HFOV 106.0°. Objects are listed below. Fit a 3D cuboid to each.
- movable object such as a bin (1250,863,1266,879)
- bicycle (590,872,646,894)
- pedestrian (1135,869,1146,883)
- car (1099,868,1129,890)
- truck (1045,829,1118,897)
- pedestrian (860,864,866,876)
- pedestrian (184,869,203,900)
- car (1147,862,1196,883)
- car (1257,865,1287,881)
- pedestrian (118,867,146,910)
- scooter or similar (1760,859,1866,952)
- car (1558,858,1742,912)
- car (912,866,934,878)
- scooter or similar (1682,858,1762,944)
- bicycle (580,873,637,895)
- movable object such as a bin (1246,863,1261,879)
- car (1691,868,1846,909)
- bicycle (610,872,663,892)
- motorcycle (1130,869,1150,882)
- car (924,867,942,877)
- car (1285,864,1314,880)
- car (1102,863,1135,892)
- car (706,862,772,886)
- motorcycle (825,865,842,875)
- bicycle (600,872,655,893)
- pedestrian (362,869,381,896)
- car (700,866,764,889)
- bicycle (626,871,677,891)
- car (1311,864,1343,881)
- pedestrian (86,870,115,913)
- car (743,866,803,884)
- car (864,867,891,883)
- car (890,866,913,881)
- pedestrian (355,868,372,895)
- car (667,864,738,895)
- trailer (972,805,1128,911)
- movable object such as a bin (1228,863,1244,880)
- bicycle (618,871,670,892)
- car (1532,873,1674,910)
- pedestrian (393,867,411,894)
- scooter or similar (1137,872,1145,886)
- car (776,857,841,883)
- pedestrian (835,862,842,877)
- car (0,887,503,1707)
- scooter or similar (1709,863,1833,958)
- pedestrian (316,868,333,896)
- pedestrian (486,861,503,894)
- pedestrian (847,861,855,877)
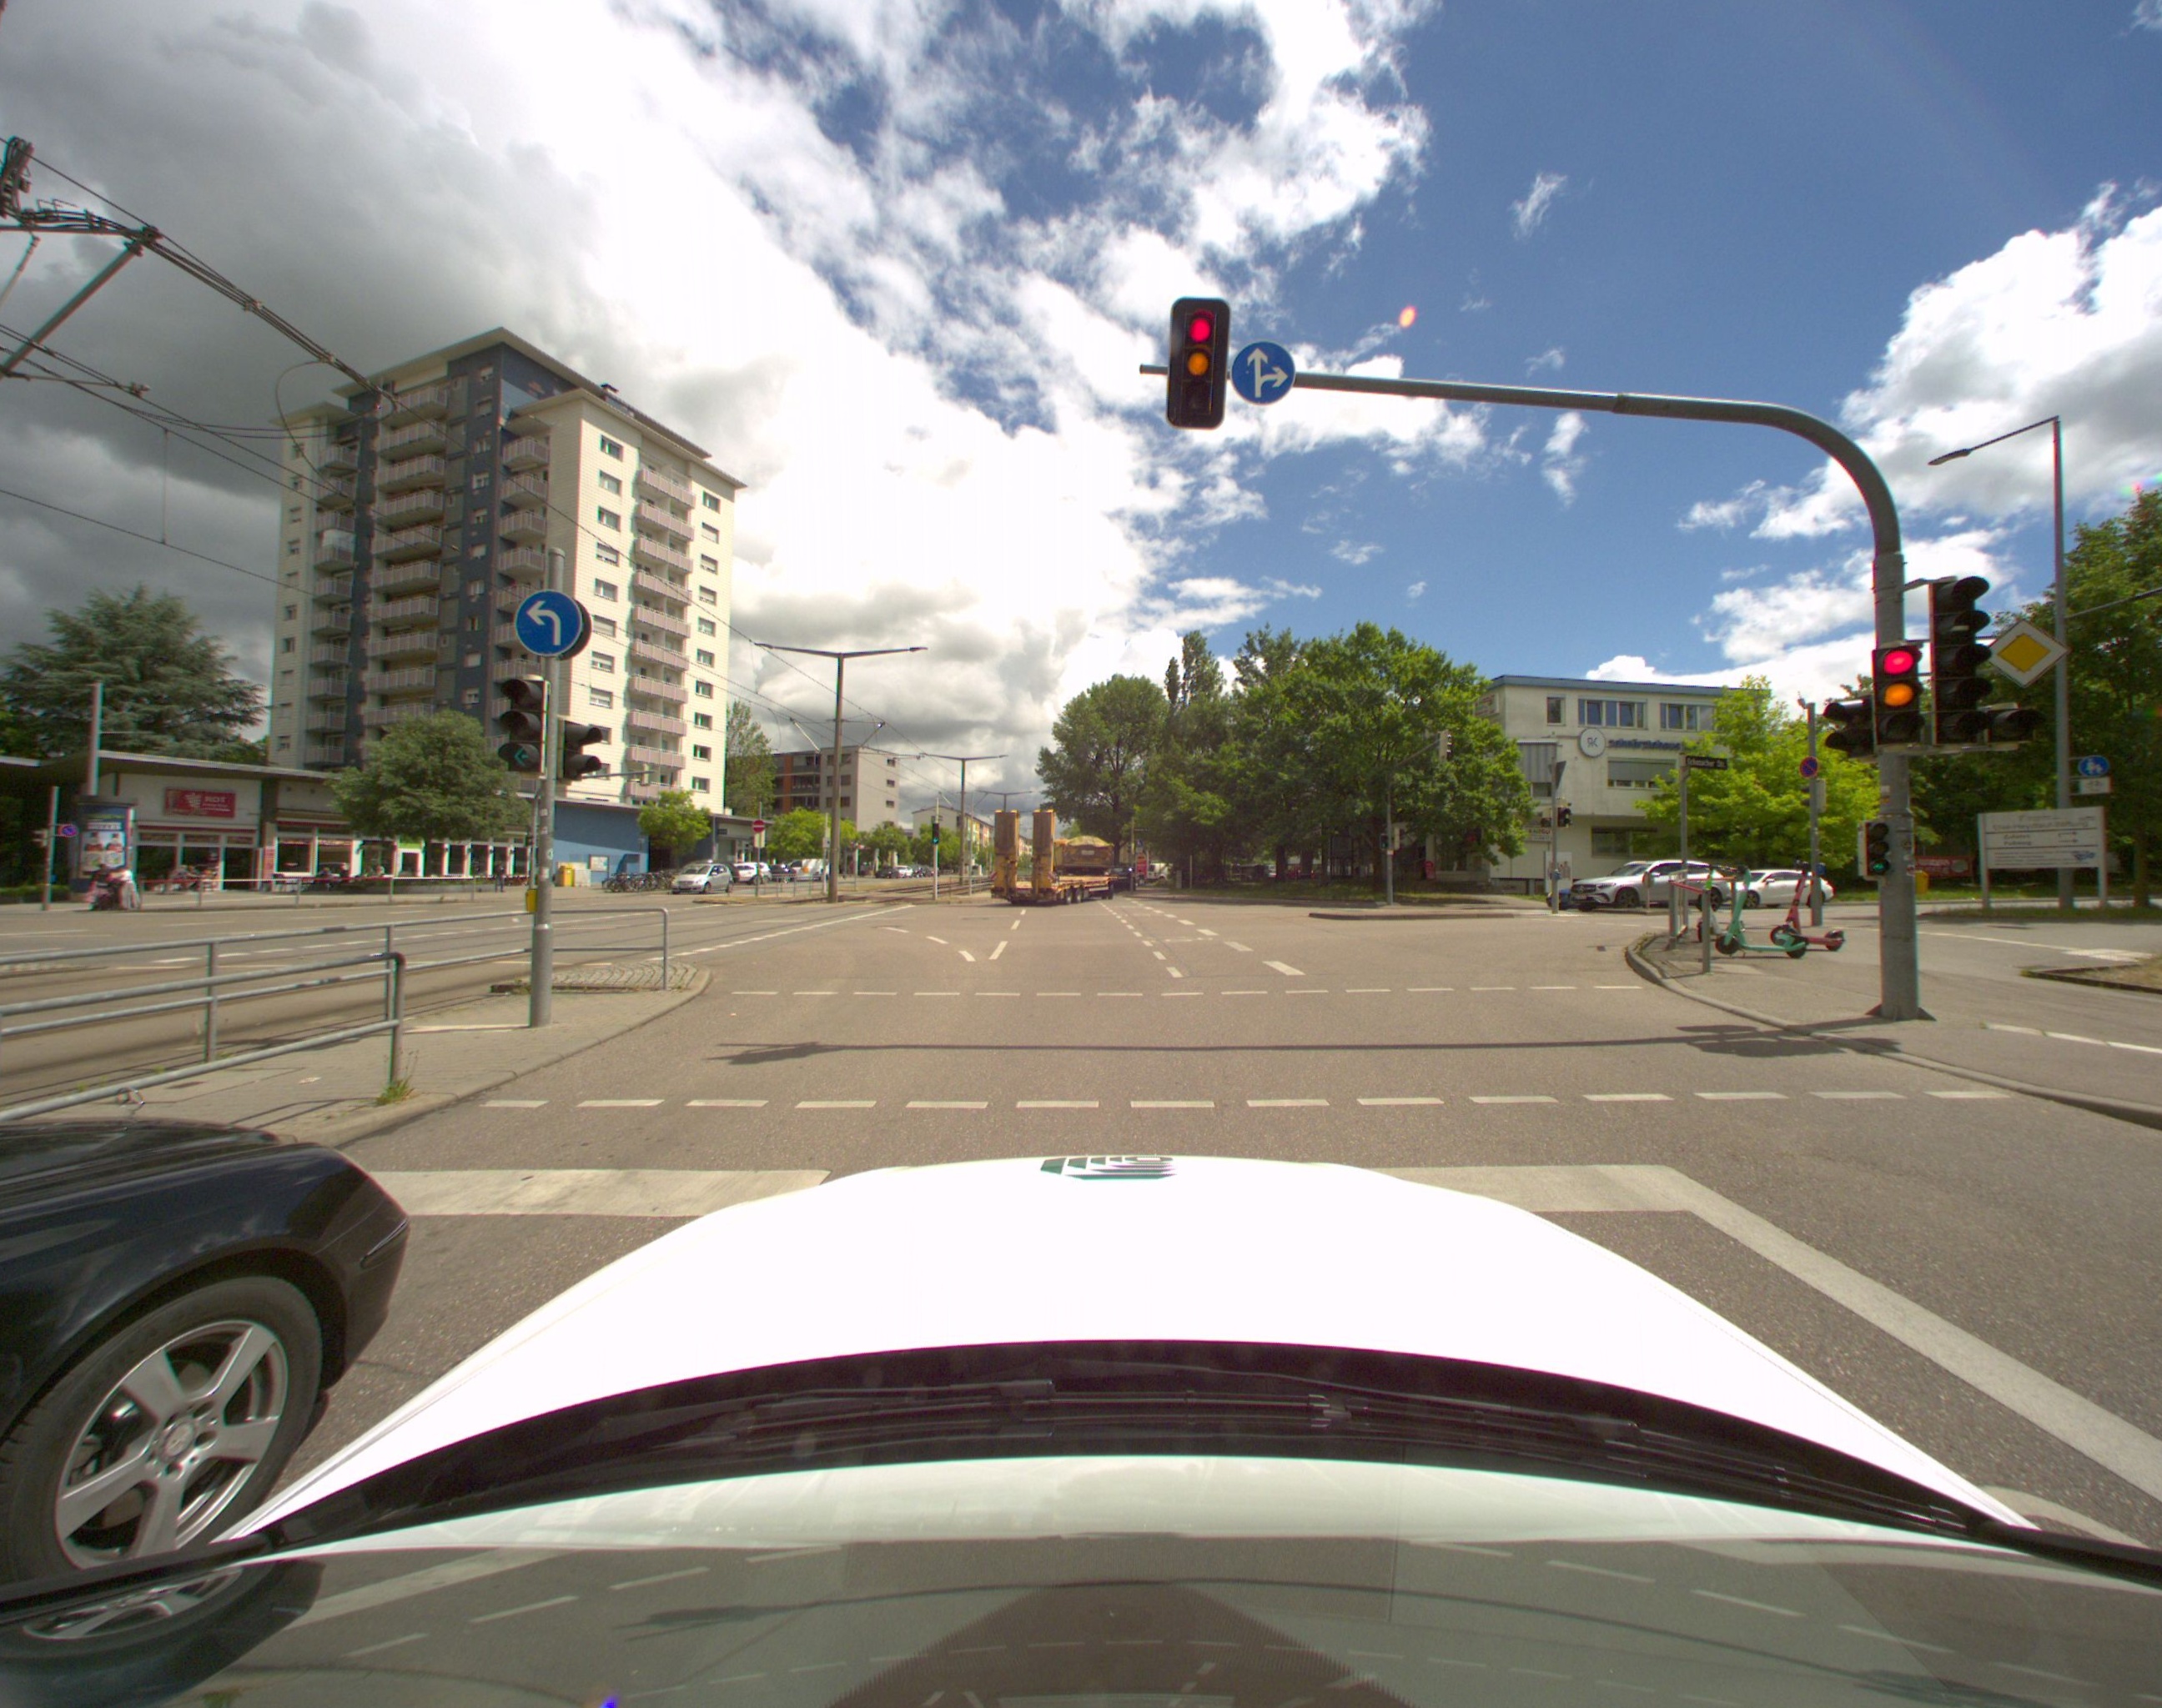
[{"bbox_3d":[16.003,1.562,73.786,1.113,1.430,1.284,0,-1,-4],"label":"movable object such as a bin"},{"bbox_3d":[-23.545,1.469,41.438,2.419,1.066,0.705,0,-1,0],"label":"bicycle"},{"bbox_3d":[4.619,1.730,63.213,0.775,1.055,0.546,0,-1,-7],"label":"pedestrian"},{"bbox_3d":[2.279,1.695,56.638,1.641,1.458,4.069,0,-1,-4],"label":"car"},{"bbox_3d":[-0.116,0.478,44.018,2.832,3.330,7.961,0,-1,-8],"label":"truck"},{"bbox_3d":[-26.369,1.906,98.505,0.500,1.460,0.555,0,-1,-28],"label":"pedestrian"},{"bbox_3d":[-42.989,1.465,39.436,0.565,1.472,0.529,-1,-1,32],"label":"pedestrian"},{"bbox_3d":[8.070,1.615,72.798,4.005,1.823,1.796,0,-1,-24],"label":"car"},{"bbox_3d":[17.883,1.773,76.264,1.933,1.490,4.001,0,0,1],"label":"car"},{"bbox_3d":[-33.287,1.202,28.562,0.512,1.472,0.529,-1,-1,26],"label":"pedestrian"},{"bbox_3d":[10.182,0.698,11.335,1.182,1.235,0.478,0,-1,-12],"label":"scooter or similar"},{"bbox_3d":[17.886,0.978,25.706,4.636,1.592,1.918,0,-3,-7],"label":"car"},{"bbox_3d":[-21.454,2.456,110.793,1.986,1.648,4.102,0,-1,2],"label":"car"},{"bbox_3d":[9.720,0.689,12.343,1.213,1.235,0.475,0,-1,-27],"label":"scooter or similar"},{"bbox_3d":[-23.571,1.473,40.683,2.419,1.066,0.705,0,-1,0],"label":"bicycle"},{"bbox_3d":[15.917,1.562,75.189,1.113,1.430,1.284,0,-1,-4],"label":"movable object such as a bin"},{"bbox_3d":[25.296,1.262,30.049,4.387,1.415,1.945,0,-3,-9],"label":"car"},{"bbox_3d":[-23.518,1.482,43.121,2.419,1.066,0.705,0,-1,0],"label":"bicycle"},{"bbox_3d":[5.570,2.033,76.603,1.803,1.210,0.706,0,-1,-24],"label":"motorcycle"},{"bbox_3d":[-21.371,2.610,117.661,1.605,1.426,3.428,0,-1,6],"label":"car"},{"bbox_3d":[20.561,1.714,76.746,1.737,1.443,4.001,0,0,1],"label":"car"},{"bbox_3d":[2.348,1.455,52.144,1.640,1.762,4.564,0,-1,-3],"label":"car"},{"bbox_3d":[-25.104,1.445,59.865,1.882,1.632,4.024,-1,-1,44],"label":"car"},{"bbox_3d":[-31.086,2.002,102.251,1.888,1.178,0.740,0,-1,-4],"label":"motorcycle"},{"bbox_3d":[-23.505,1.475,42.237,2.419,1.066,0.705,0,-1,0],"label":"bicycle"},{"bbox_3d":[-38.547,1.552,44.257,0.522,1.472,0.573,0,-1,3],"label":"pedestrian"},{"bbox_3d":[-24.518,1.636,57.295,3.786,1.496,1.727,0,-1,-40],"label":"car"},{"bbox_3d":[-23.539,1.495,44.634,2.419,1.066,0.705,0,-1,0],"label":"bicycle"},{"bbox_3d":[22.898,1.703,75.965,1.738,1.470,3.997,0,0,-1],"label":"car"},{"bbox_3d":[-34.116,1.298,28.338,0.565,1.472,0.529,-1,-1,26],"label":"pedestrian"},{"bbox_3d":[-24.249,1.640,64.087,4.022,1.383,1.883,0,-1,-42],"label":"car"},{"bbox_3d":[-22.006,2.275,88.342,1.989,1.663,4.095,1,0,-3],"label":"car"},{"bbox_3d":[-21.582,2.344,97.833,1.989,1.663,4.095,1,0,-3],"label":"car"},{"bbox_3d":[-39.722,1.495,45.092,0.565,1.472,0.529,-1,-1,29],"label":"pedestrian"},{"bbox_3d":[-19.759,1.298,42.693,1.810,1.533,3.758,0,-1,4],"label":"car"},{"bbox_3d":[-0.839,0.183,34.827,3.027,3.773,11.662,-1,-1,17],"label":"trailer"},{"bbox_3d":[13.880,1.558,72.857,1.113,1.430,1.284,0,-1,-4],"label":"movable object such as a bin"},{"bbox_3d":[-23.519,1.488,43.874,2.419,1.066,0.705,0,-1,0],"label":"bicycle"},{"bbox_3d":[18.609,1.334,29.149,3.955,1.225,1.908,0,-3,-7],"label":"car"},{"bbox_3d":[-38.069,1.465,45.653,0.522,1.472,0.573,0,-1,3],"label":"pedestrian"},{"bbox_3d":[4.630,1.915,63.221,0.476,1.055,0.895,0,-1,-7],"label":"scooter or similar"},{"bbox_3d":[-22.926,1.330,68.607,4.788,2.157,1.883,0,-1,-42],"label":"car"},{"bbox_3d":[-26.165,1.660,87.842,0.667,1.574,0.682,0,-1,-28],"label":"pedestrian"},{"bbox_3d":[-2.858,0.788,0.176,1.963,1.398,4.678,0,0,3],"label":"car"},{"bbox_3d":[8.884,0.721,10.506,1.162,1.195,0.449,0,-1,5],"label":"scooter or similar"},{"bbox_3d":[-40.412,1.472,43.498,0.565,1.472,0.529,-1,-1,32],"label":"pedestrian"},{"bbox_3d":[-29.948,1.184,41.602,0.415,1.643,0.600,0,-1,-2],"label":"pedestrian"},{"bbox_3d":[-26.219,1.663,92.818,0.609,1.792,0.843,0,-1,-1],"label":"pedestrian"}]
